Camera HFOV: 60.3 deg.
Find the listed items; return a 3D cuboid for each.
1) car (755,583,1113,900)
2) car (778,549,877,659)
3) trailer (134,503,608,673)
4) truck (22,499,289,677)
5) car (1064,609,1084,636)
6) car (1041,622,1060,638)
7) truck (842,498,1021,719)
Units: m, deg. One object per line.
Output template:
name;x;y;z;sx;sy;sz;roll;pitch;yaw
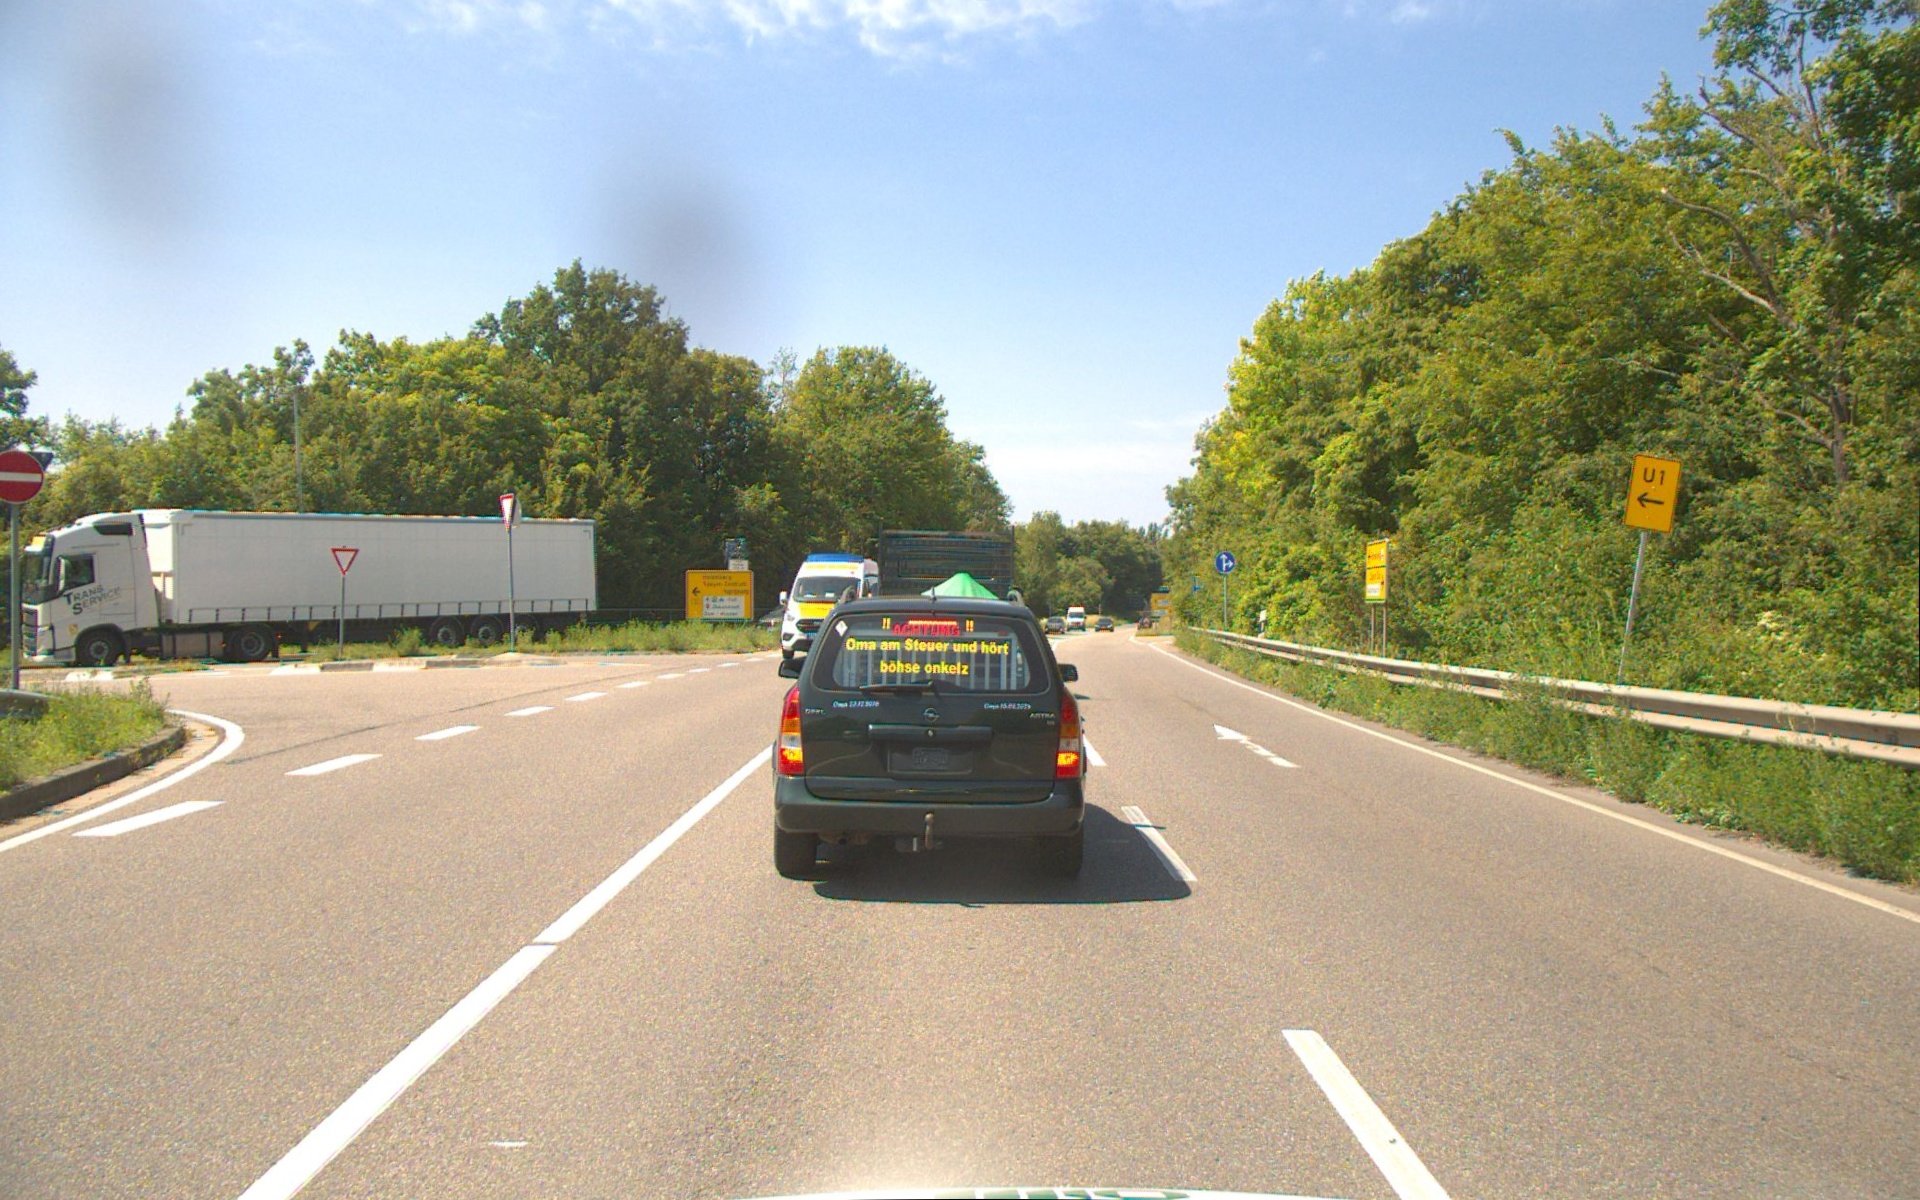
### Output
car;-0.111;0.660;9.765;1.685;1.482;3.797;1;0;0
car;-3.074;0.073;39.344;1.950;2.409;5.181;1;0;-1
trailer;-16.660;-0.432;48.573;2.941;4.350;13.729;1;2;38
truck;-21.096;-0.349;43.466;5.869;4.350;2.958;-1;1;-39
car;12.434;2.409;180.330;2.061;2.900;6.014;1;0;4
car;8.141;2.693;148.822;1.610;1.443;3.767;1;0;3
truck;-0.222;0.089;23.067;2.094;2.610;6.641;1;0;2
